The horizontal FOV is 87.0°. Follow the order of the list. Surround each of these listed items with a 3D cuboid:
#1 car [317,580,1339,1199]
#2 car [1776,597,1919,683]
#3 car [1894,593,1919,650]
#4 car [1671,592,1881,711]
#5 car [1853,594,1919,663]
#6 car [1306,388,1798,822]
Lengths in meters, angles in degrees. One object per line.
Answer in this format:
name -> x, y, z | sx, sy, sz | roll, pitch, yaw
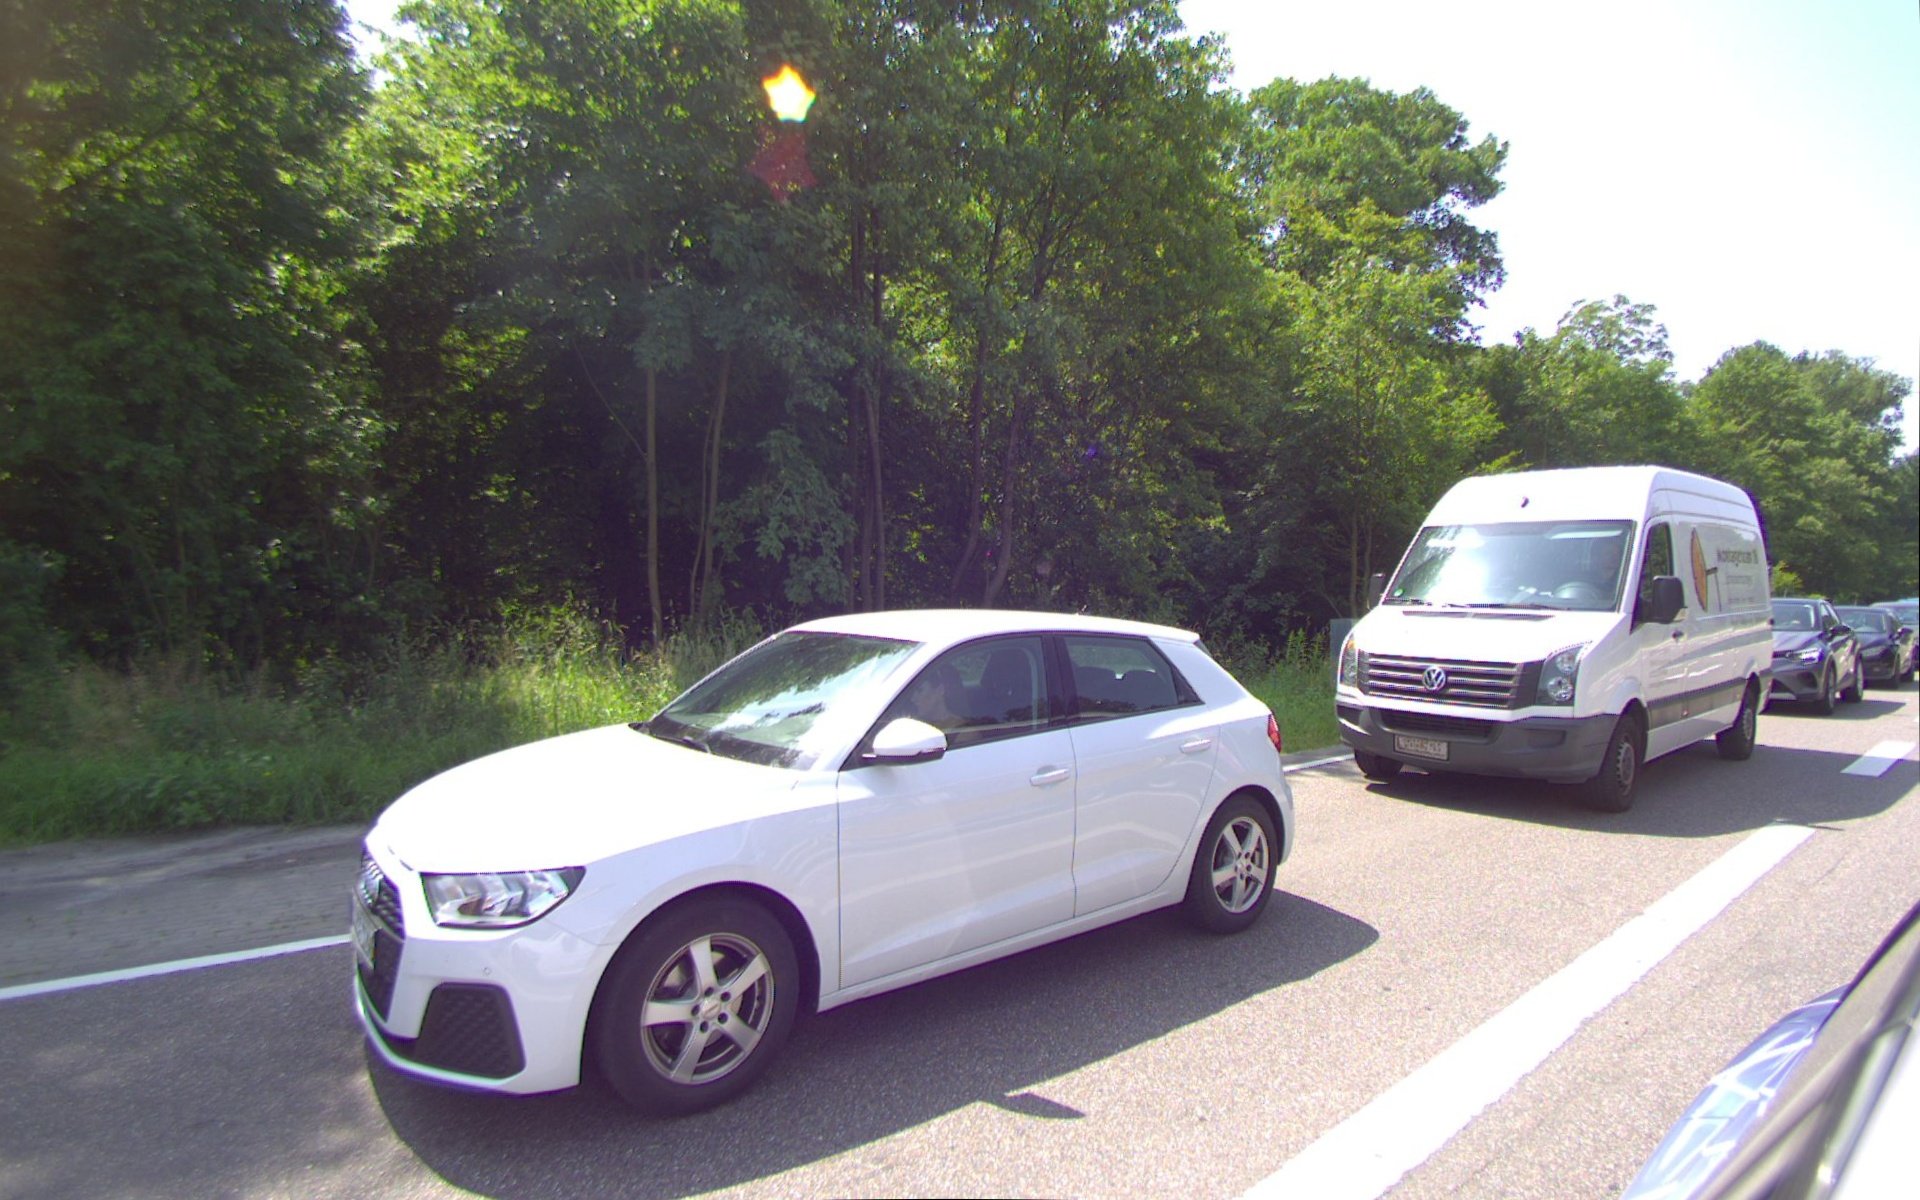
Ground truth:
car -> -0.269, 0.688, 4.220 | 3.927, 1.454, 1.693 | 0, -1, -39
car -> 16.608, 0.643, 18.703 | 4.157, 1.372, 1.794 | 0, 1, -43
car -> 26.812, 0.567, 27.484 | 4.157, 1.457, 1.794 | 0, 1, -43
car -> 11.896, 0.632, 14.656 | 4.157, 1.479, 1.794 | 0, 0, -43
car -> 22.118, 0.619, 23.384 | 4.157, 1.457, 1.794 | 0, 1, -43
car -> 5.533, 0.032, 8.964 | 5.953, 2.679, 1.973 | 0, 0, -41
